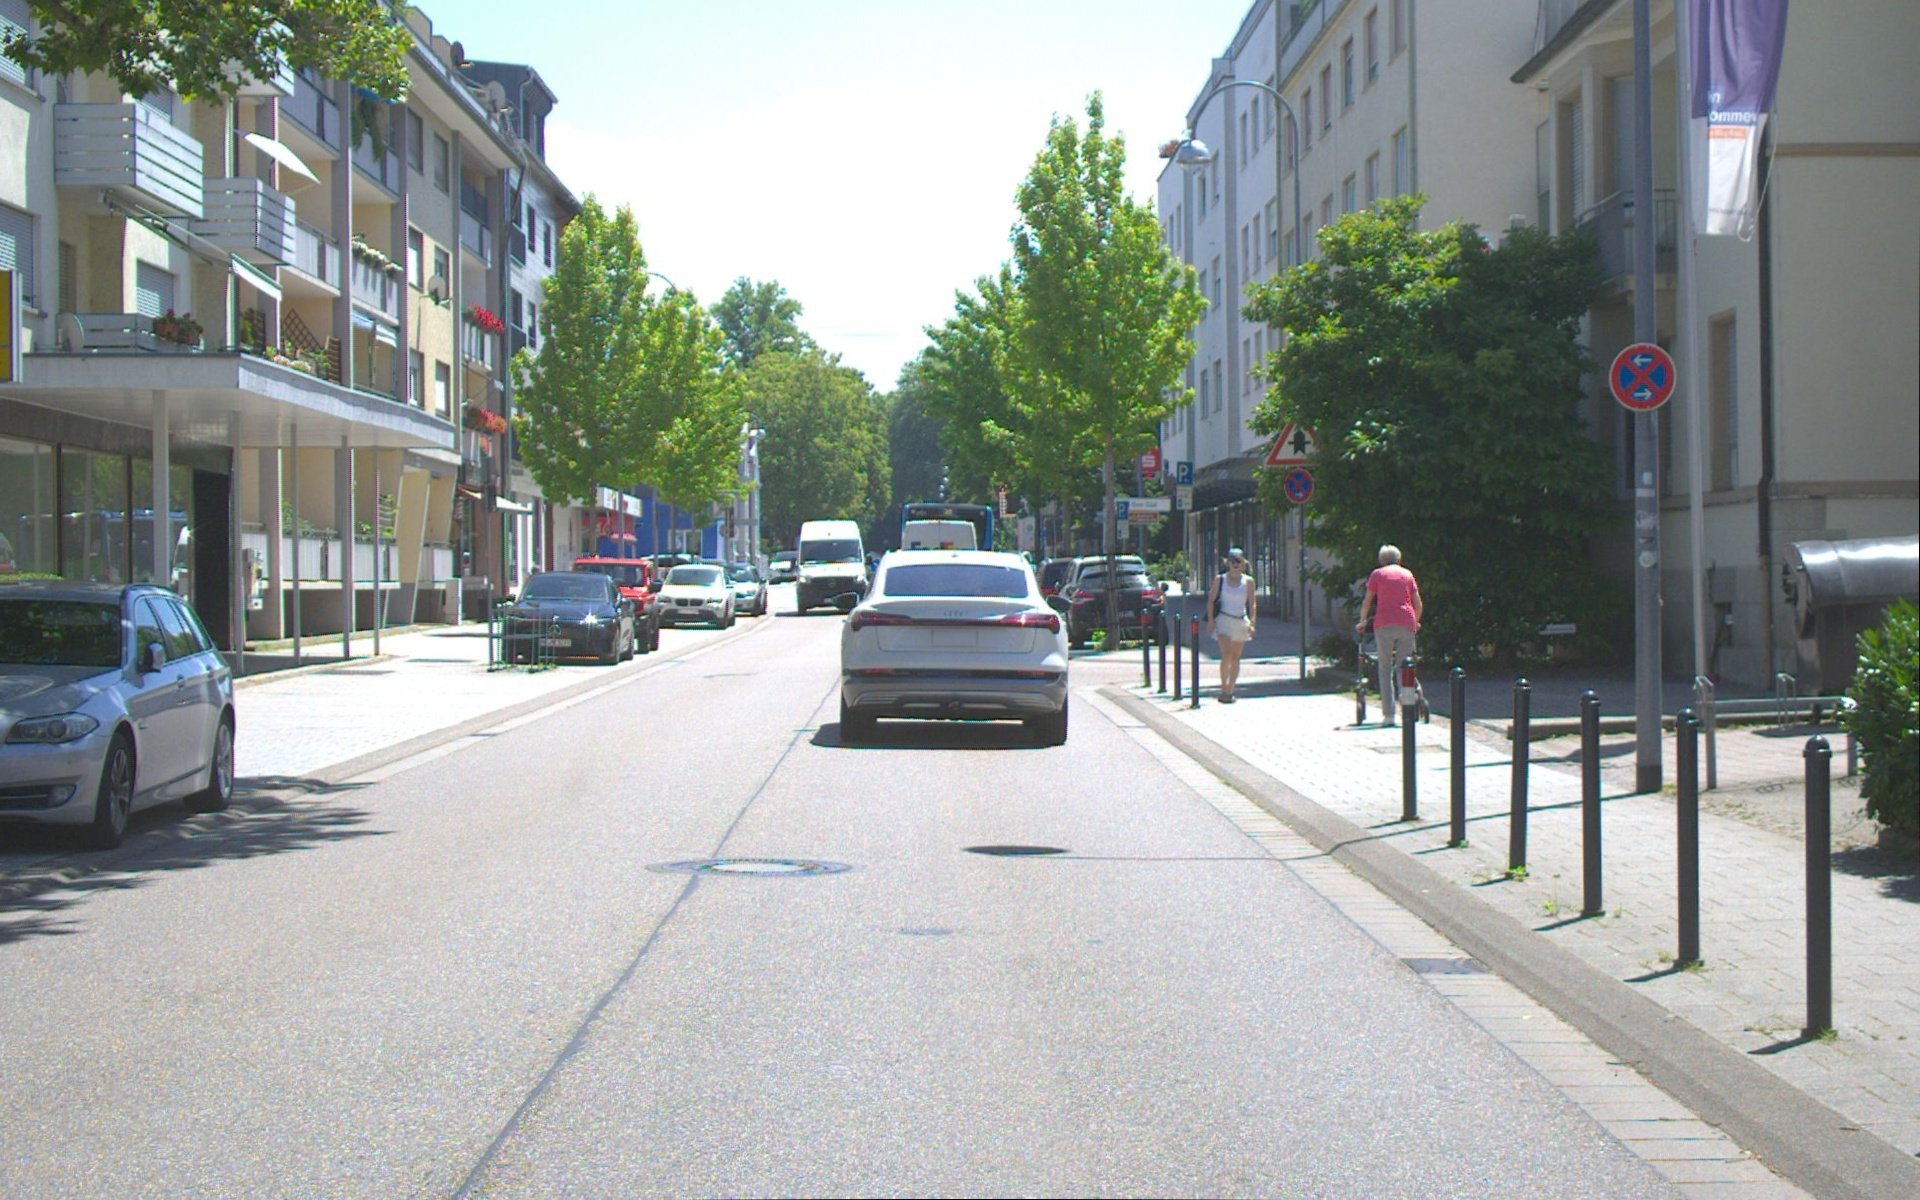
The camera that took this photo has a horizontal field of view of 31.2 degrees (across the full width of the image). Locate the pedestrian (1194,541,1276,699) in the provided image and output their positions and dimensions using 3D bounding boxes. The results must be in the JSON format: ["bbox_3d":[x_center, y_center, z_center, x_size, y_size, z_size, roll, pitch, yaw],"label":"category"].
[{"bbox_3d":[2.917,0.206,36.558,0.700,1.621,0.784,-3,0,-2],"label":"pedestrian"}]

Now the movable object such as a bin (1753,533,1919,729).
[{"bbox_3d":[7.145,0.226,27.184,1.368,1.454,1.380,-3,0,1],"label":"movable object such as a bin"}]

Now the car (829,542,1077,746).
[{"bbox_3d":[-0.114,0.337,30.005,1.993,1.627,4.000,1,1,-2],"label":"car"}]

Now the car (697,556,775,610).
[{"bbox_3d":[-6.262,-0.491,96.346,1.752,1.448,4.400,2,1,1],"label":"car"}]

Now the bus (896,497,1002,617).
[{"bbox_3d":[-0.252,-1.200,98.060,2.661,3.210,7.301,2,0,2],"label":"bus"}]

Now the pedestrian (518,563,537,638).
[{"bbox_3d":[-10.017,0.003,79.605,0.394,1.729,0.446,-1,1,-11],"label":"pedestrian"}]

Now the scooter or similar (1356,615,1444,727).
[{"bbox_3d":[3.904,0.626,30.542,0.663,0.960,0.754,-1,1,-1],"label":"scooter or similar"}]

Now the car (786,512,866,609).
[{"bbox_3d":[-3.807,-1.143,99.071,2.036,2.621,7.108,-2,1,-1],"label":"car"}]

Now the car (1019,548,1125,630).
[{"bbox_3d":[2.387,-0.263,74.375,1.855,1.669,4.537,-2,1,-3],"label":"car"}]

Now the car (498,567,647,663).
[{"bbox_3d":[-6.218,0.210,55.695,1.896,1.412,5.048,2,1,-1],"label":"car"}]

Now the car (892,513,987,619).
[{"bbox_3d":[-0.491,-0.826,83.375,2.156,2.433,5.283,2,0,0],"label":"car"}]

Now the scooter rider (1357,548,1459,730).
[{"bbox_3d":[3.892,0.327,29.905,0.716,1.543,0.770,-2,1,-2],"label":"scooter rider"}]

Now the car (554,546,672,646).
[{"bbox_3d":[-6.240,-0.087,62.168,1.752,1.696,4.101,2,1,-1],"label":"car"}]

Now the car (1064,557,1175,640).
[{"bbox_3d":[2.885,-0.052,62.891,1.896,1.433,4.544,-1,1,1],"label":"car"}]

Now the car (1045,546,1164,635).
[{"bbox_3d":[2.870,-0.216,69.031,1.896,1.669,4.691,-2,1,-3],"label":"car"}]

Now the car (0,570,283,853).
[{"bbox_3d":[-5.504,0.561,20.621,1.981,1.447,5.151,1,1,-1],"label":"car"}]

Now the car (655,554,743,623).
[{"bbox_3d":[-6.470,-0.308,85.479,1.752,1.612,4.401,2,1,1],"label":"car"}]
